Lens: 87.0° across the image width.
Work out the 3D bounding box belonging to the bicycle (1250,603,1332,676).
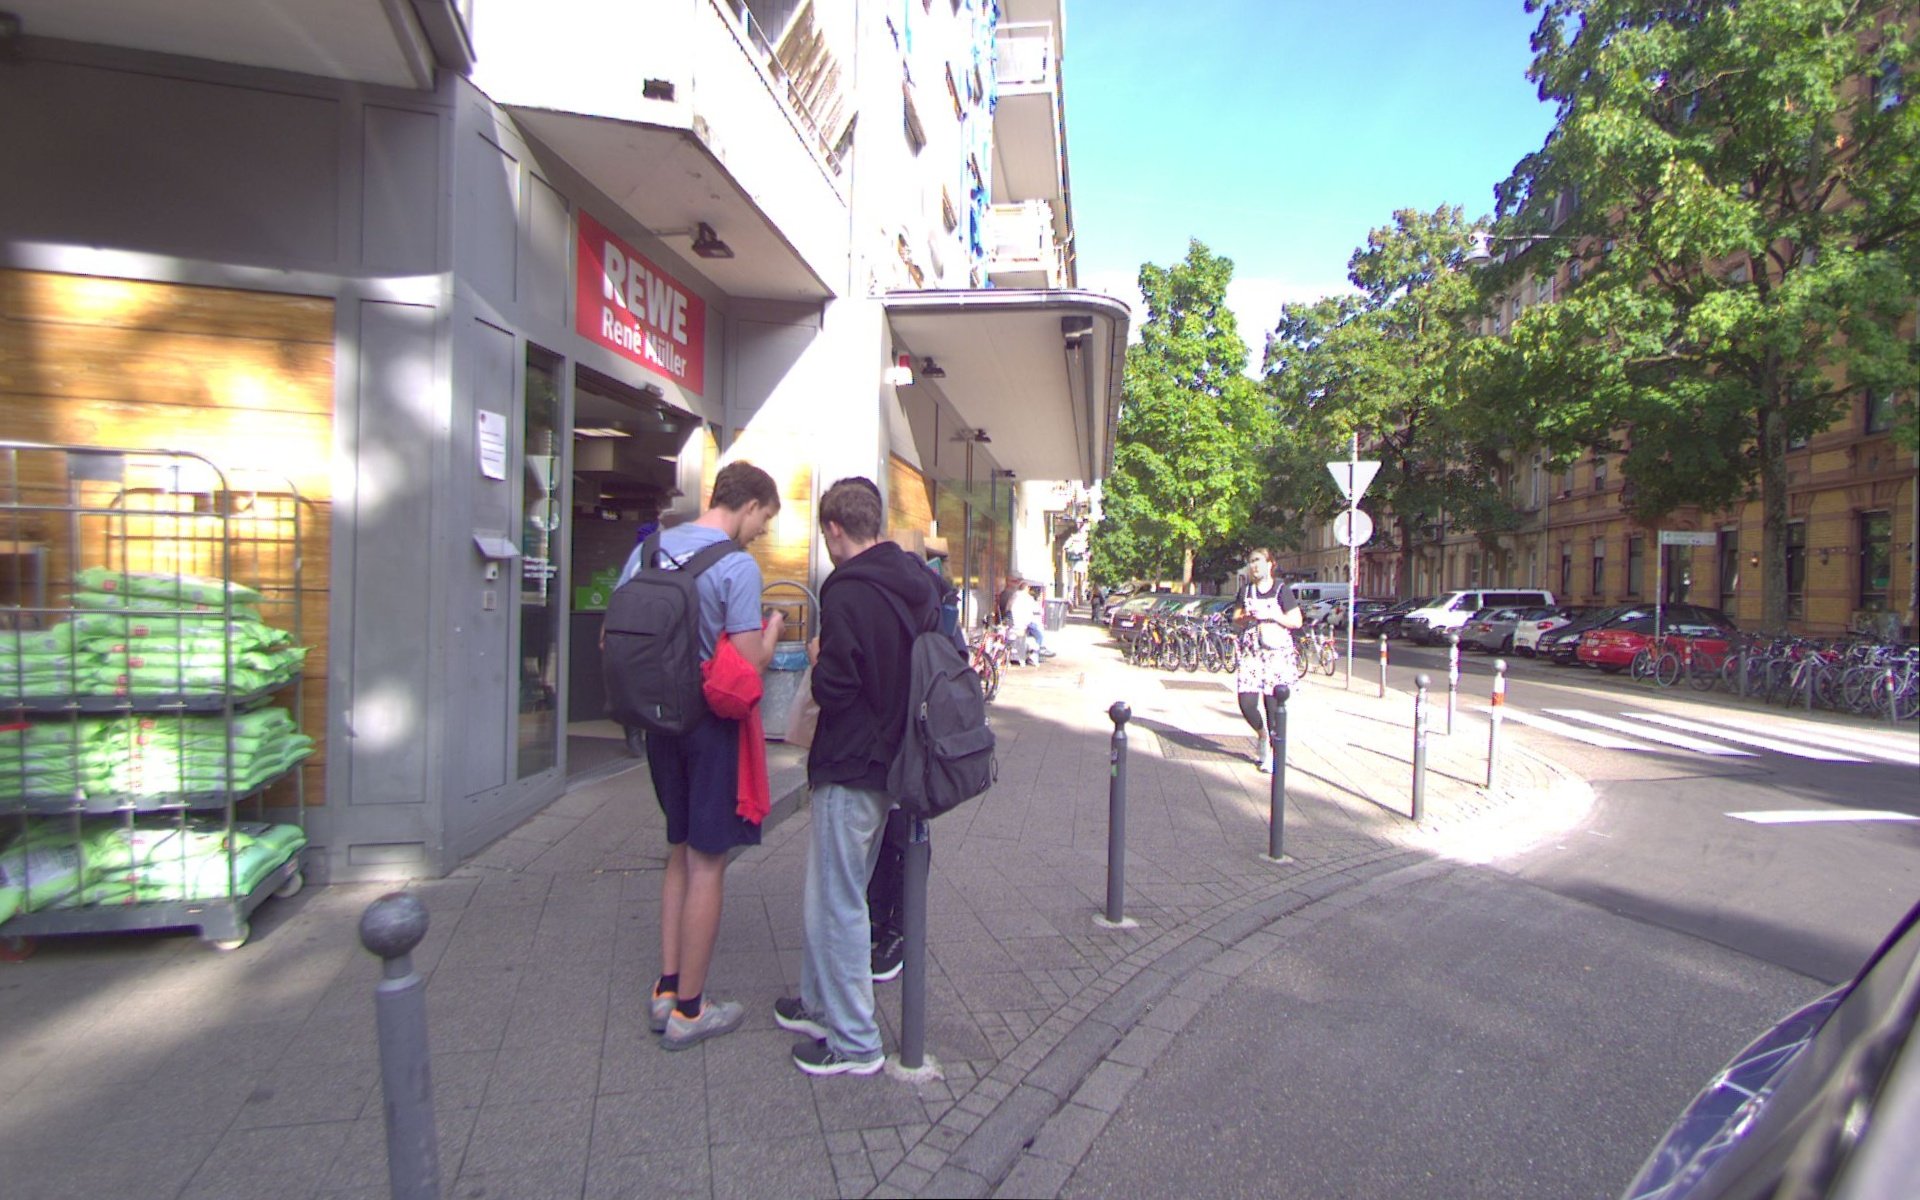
[{"bbox_3d":[5.966,0.686,18.334,0.404,1.190,1.857,2,1,-16],"label":"bicycle"}]

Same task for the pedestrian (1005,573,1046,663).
[{"bbox_3d":[1.136,0.301,17.708,0.656,1.525,0.753,1,0,3],"label":"pedestrian"}]

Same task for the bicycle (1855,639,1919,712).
[{"bbox_3d":[13.997,1.093,14.499,1.692,0.999,0.445,0,1,23],"label":"bicycle"}]

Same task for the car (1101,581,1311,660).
[{"bbox_3d":[5.244,0.423,21.796,3.917,1.473,1.814,2,2,-11],"label":"car"}]

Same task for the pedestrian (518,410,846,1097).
[{"bbox_3d":[-0.819,0.387,3.105,0.624,1.818,0.711,4,3,17],"label":"pedestrian"}]

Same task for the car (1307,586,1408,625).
[{"bbox_3d":[20.130,0.250,51.401,4.381,1.856,1.933,-1,1,6],"label":"car"}]

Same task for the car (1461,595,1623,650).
[{"bbox_3d":[16.754,0.655,29.301,3.649,1.476,1.664,-2,-1,11],"label":"car"}]

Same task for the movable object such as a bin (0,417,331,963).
[{"bbox_3d":[-3.655,0.276,3.497,2.372,1.766,0.784,1,0,-19],"label":"movable object such as a bin"}]

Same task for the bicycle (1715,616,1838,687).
[{"bbox_3d":[14.679,0.914,18.230,1.686,1.216,0.446,0,1,13],"label":"bicycle"}]

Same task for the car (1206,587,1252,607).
[{"bbox_3d":[25.479,-0.271,95.955,3.933,1.754,1.825,1,-1,9],"label":"car"}]

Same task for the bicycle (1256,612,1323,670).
[{"bbox_3d":[6.346,0.769,19.531,0.482,1.014,1.426,2,1,-16],"label":"bicycle"}]

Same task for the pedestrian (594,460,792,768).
[{"bbox_3d":[-1.683,0.067,6.412,0.923,1.775,0.757,2,0,32],"label":"pedestrian"}]

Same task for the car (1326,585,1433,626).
[{"bbox_3d":[20.288,0.236,49.123,4.381,1.856,1.933,-1,1,6],"label":"car"}]

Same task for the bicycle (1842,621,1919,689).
[{"bbox_3d":[16.618,0.954,17.649,1.773,1.128,0.598,0,1,13],"label":"bicycle"}]

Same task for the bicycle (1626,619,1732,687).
[{"bbox_3d":[13.576,0.967,19.203,0.572,1.109,2.494,-2,1,9],"label":"bicycle"}]

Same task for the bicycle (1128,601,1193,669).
[{"bbox_3d":[3.629,0.607,18.424,0.412,1.099,1.703,2,2,-15],"label":"bicycle"}]

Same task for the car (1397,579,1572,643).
[{"bbox_3d":[17.800,0.355,34.551,4.826,2.014,2.044,-1,1,6],"label":"car"}]

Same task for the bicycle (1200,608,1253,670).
[{"bbox_3d":[4.841,0.696,18.454,0.405,1.031,1.503,2,1,-5],"label":"bicycle"}]

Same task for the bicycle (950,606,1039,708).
[{"bbox_3d":[0.422,0.612,11.678,0.575,1.045,1.526,3,1,18],"label":"bicycle"}]

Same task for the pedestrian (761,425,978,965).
[{"bbox_3d":[-0.329,0.319,3.772,0.646,1.818,0.656,3,3,-3],"label":"pedestrian"}]

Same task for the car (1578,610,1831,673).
[{"bbox_3d":[15.725,0.861,21.566,4.042,1.286,1.564,0,-1,7],"label":"car"}]

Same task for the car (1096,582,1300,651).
[{"bbox_3d":[5.780,0.400,24.530,4.569,1.473,1.960,2,0,-26],"label":"car"}]

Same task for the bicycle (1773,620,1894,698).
[{"bbox_3d":[14.388,0.961,16.684,1.678,1.216,0.449,0,1,-4],"label":"bicycle"}]

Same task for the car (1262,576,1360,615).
[{"bbox_3d":[21.400,-0.290,61.925,5.393,2.229,1.994,1,-1,10],"label":"car"}]

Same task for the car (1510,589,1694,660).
[{"bbox_3d":[16.980,0.626,26.948,3.649,1.743,1.855,1,-1,11],"label":"car"}]

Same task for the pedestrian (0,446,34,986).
[{"bbox_3d":[-3.193,0.366,2.795,0.697,1.652,0.726,2,3,-18],"label":"pedestrian"}]

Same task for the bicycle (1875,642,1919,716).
[{"bbox_3d":[13.888,1.112,14.057,1.692,0.981,0.445,0,1,23],"label":"bicycle"}]

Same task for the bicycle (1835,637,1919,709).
[{"bbox_3d":[14.075,1.078,14.932,1.692,0.999,0.445,0,1,23],"label":"bicycle"}]

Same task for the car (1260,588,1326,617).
[{"bbox_3d":[22.958,0.179,69.872,4.059,1.898,1.994,1,-1,10],"label":"car"}]

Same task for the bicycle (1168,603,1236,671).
[{"bbox_3d":[4.401,0.660,18.529,0.412,1.099,1.703,2,2,-15],"label":"bicycle"}]

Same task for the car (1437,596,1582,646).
[{"bbox_3d":[17.320,0.657,32.056,3.649,1.476,1.665,-1,1,11],"label":"car"}]

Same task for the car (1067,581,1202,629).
[{"bbox_3d":[6.372,0.184,37.006,4.532,1.514,1.754,2,0,-19],"label":"car"}]

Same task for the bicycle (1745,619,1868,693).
[{"bbox_3d":[14.405,0.950,17.242,1.680,1.216,0.448,0,1,1],"label":"bicycle"}]

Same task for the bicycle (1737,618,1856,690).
[{"bbox_3d":[14.610,0.936,17.689,1.680,1.216,0.448,0,1,1],"label":"bicycle"}]

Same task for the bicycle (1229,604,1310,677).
[{"bbox_3d":[5.560,0.698,18.294,0.404,1.190,1.857,2,1,-16],"label":"bicycle"}]

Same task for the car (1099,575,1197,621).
[{"bbox_3d":[10.152,-0.086,54.718,4.709,2.249,2.152,2,0,-22],"label":"car"}]

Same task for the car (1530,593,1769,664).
[{"bbox_3d":[16.362,0.652,24.284,4.250,1.589,1.997,-1,0,16],"label":"car"}]

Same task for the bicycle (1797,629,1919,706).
[{"bbox_3d":[14.086,1.016,15.410,2.021,1.102,0.445,0,1,23],"label":"bicycle"}]

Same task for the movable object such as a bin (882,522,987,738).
[{"bbox_3d":[-0.194,0.240,9.291,0.679,1.776,1.547,3,1,6],"label":"movable object such as a bin"}]

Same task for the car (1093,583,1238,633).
[{"bbox_3d":[7.041,0.271,34.713,4.532,1.514,1.754,2,0,-19],"label":"car"}]

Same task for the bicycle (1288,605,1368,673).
[{"bbox_3d":[7.066,0.721,19.527,0.404,1.190,1.857,2,1,-16],"label":"bicycle"}]

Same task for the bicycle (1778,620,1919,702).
[{"bbox_3d":[14.090,0.947,16.029,1.692,1.216,0.445,0,1,23],"label":"bicycle"}]

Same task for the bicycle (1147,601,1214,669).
[{"bbox_3d":[3.977,0.615,18.384,0.412,1.099,1.703,2,2,-15],"label":"bicycle"}]

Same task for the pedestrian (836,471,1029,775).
[{"bbox_3d":[-0.206,0.139,7.439,1.016,2.038,0.863,2,2,-41],"label":"pedestrian"}]

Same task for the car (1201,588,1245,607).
[{"bbox_3d":[25.550,-0.250,98.394,3.933,1.754,1.825,1,-1,9],"label":"car"}]

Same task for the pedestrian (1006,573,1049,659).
[{"bbox_3d":[1.235,0.281,18.461,0.740,1.525,0.667,1,0,6],"label":"pedestrian"}]

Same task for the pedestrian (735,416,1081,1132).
[{"bbox_3d":[-0.159,0.420,3.012,0.712,1.818,0.623,6,4,39],"label":"pedestrian"}]

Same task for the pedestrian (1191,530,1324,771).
[{"bbox_3d":[2.342,0.367,7.965,0.828,1.775,0.613,1,0,-41],"label":"pedestrian"}]
